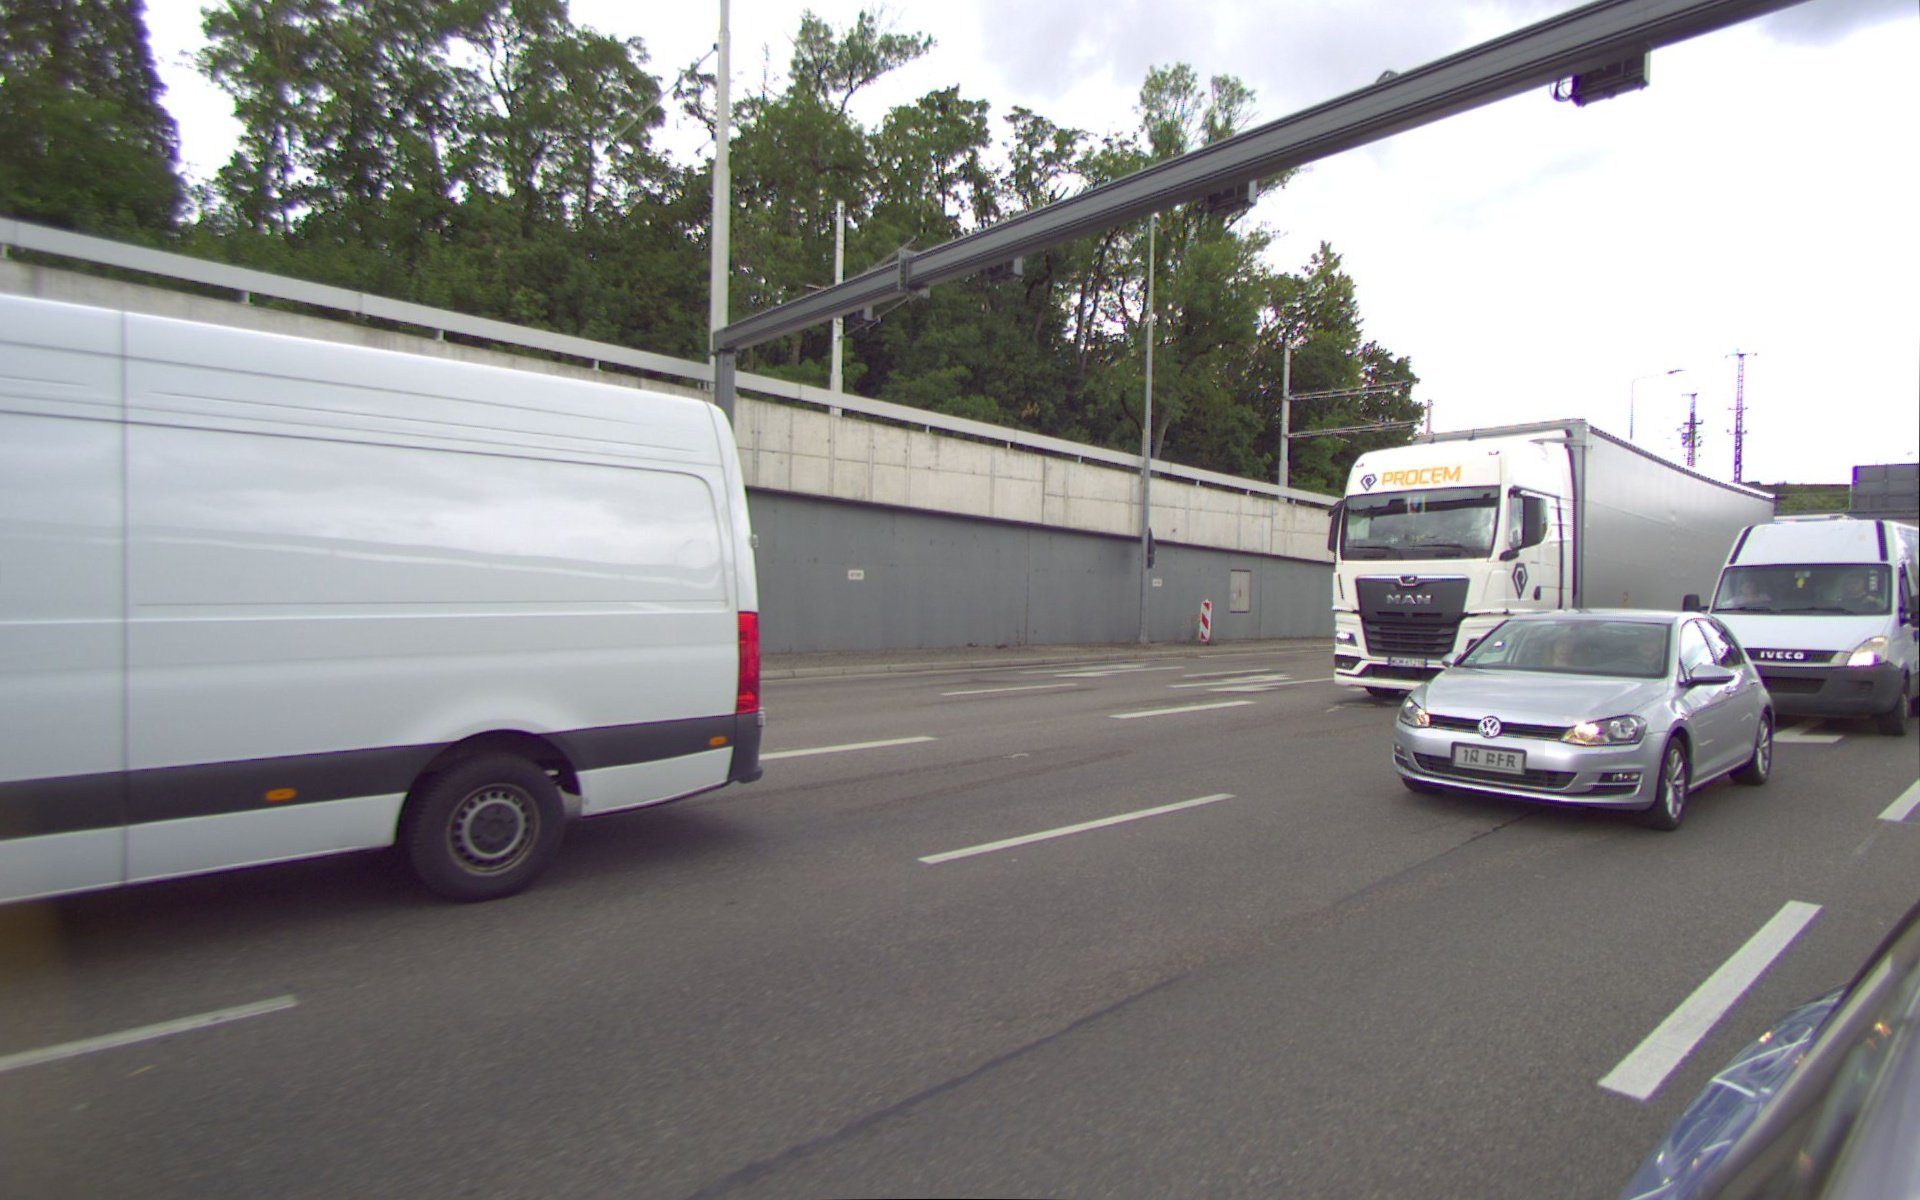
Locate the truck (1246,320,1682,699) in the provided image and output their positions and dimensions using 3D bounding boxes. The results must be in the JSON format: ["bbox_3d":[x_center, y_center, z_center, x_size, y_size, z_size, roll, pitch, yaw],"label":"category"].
[{"bbox_3d":[8.346,-1.121,16.366,7.312,4.690,3.811,0,-1,-41],"label":"truck"}]

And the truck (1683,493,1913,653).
[{"bbox_3d":[26.269,-0.709,31.434,10.790,4.194,3.731,0,0,-41],"label":"truck"}]

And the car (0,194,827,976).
[{"bbox_3d":[-4.173,-0.070,4.384,7.199,2.808,2.078,0,0,-42],"label":"car"}]

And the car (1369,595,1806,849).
[{"bbox_3d":[5.005,0.701,7.860,3.968,1.400,1.767,-1,2,-41],"label":"car"}]

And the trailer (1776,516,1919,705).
[{"bbox_3d":[14.992,0.073,16.283,4.727,2.671,2.107,-2,3,-41],"label":"trailer"}]

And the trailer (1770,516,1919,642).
[{"bbox_3d":[34.487,-0.697,38.426,10.787,4.194,3.732,0,0,-40],"label":"trailer"}]

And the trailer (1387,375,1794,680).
[{"bbox_3d":[13.516,-1.115,20.913,11.902,4.690,3.811,0,-1,-41],"label":"trailer"}]

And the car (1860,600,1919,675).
[{"bbox_3d":[20.260,0.742,21.007,4.270,1.415,1.720,0,1,-40],"label":"car"}]

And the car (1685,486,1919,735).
[{"bbox_3d":[11.787,0.069,13.503,5.837,2.661,2.062,-1,1,-40],"label":"car"}]
